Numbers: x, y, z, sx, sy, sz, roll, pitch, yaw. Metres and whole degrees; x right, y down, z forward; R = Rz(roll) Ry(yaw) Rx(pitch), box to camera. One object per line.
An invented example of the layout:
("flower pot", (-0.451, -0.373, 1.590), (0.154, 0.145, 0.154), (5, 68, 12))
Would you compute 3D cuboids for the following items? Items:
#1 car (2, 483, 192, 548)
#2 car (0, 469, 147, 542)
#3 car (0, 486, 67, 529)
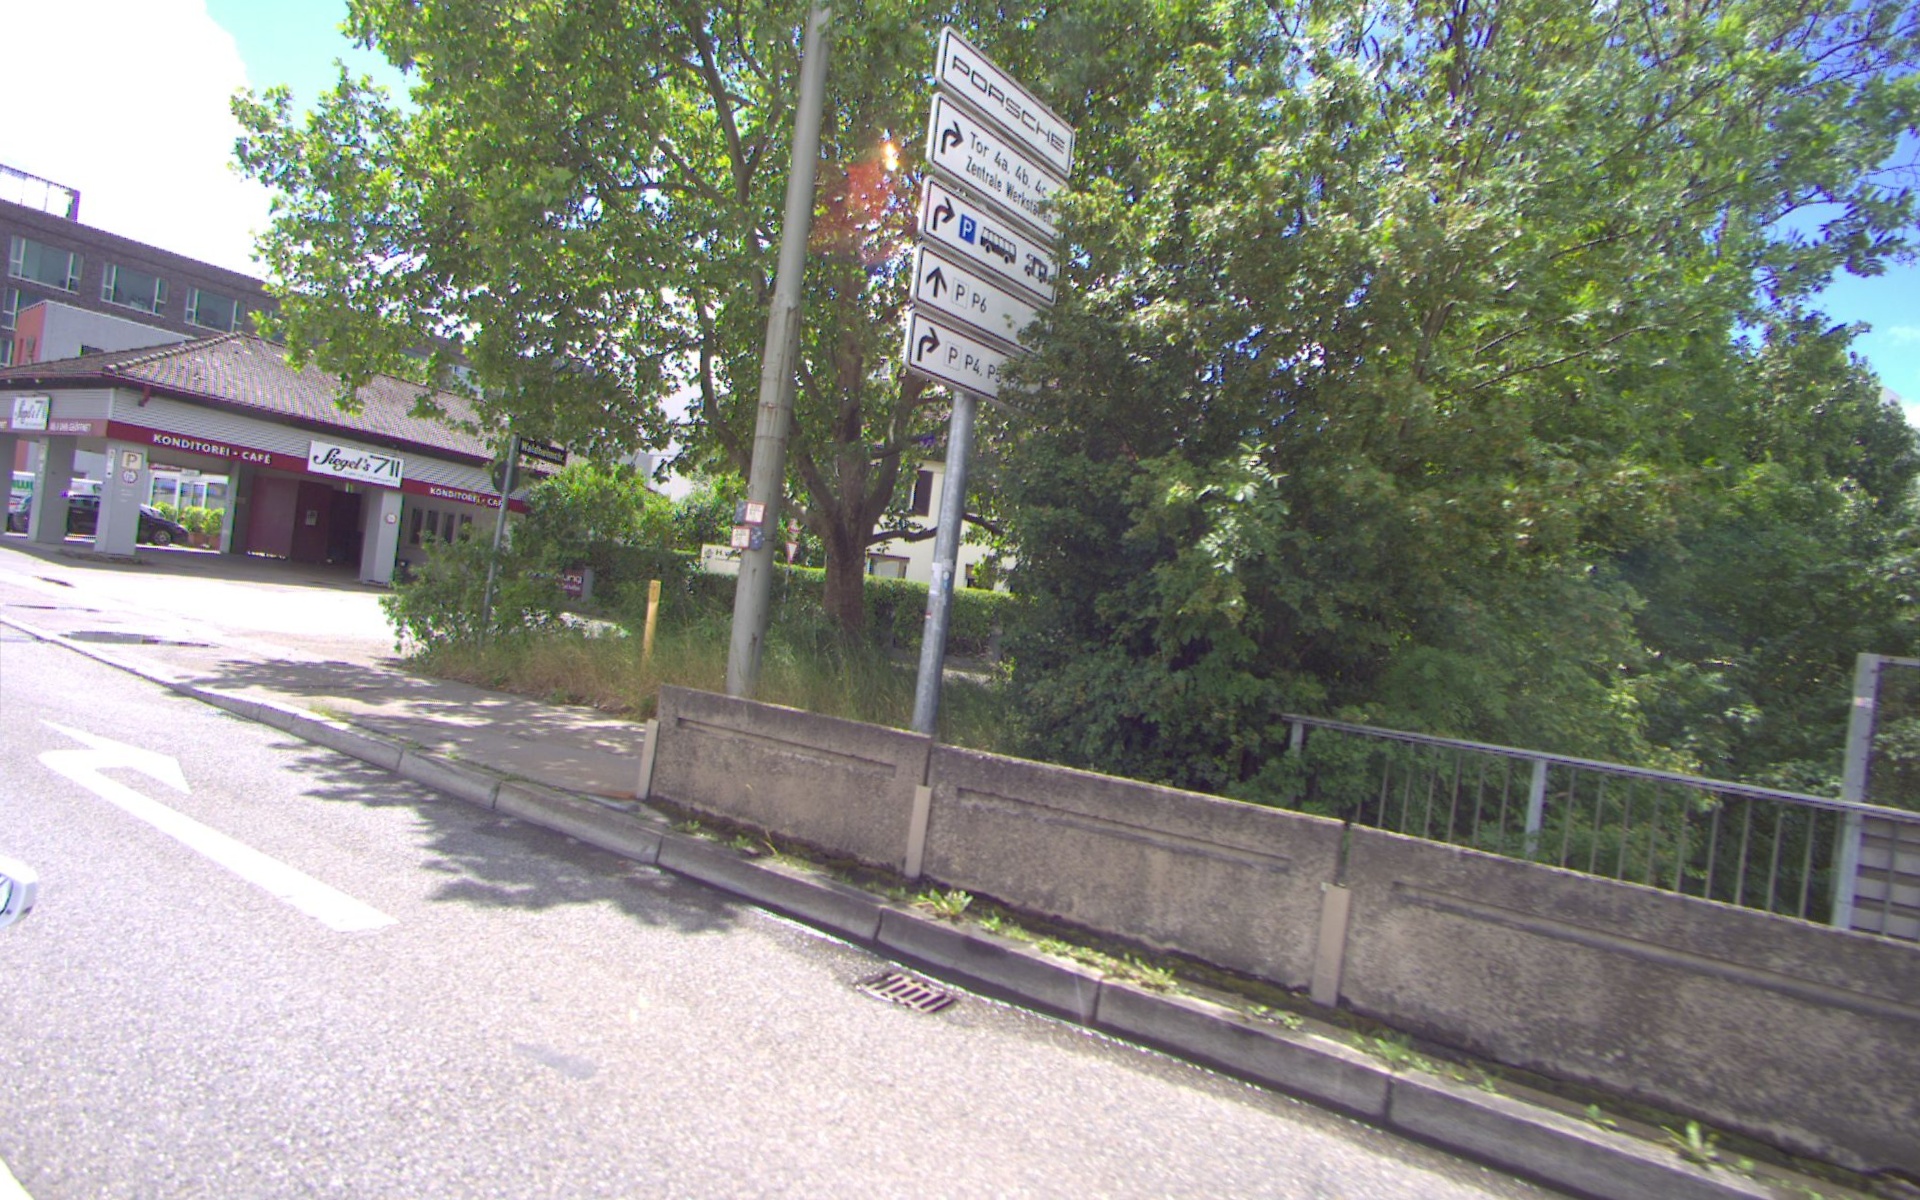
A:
("car", (-27.914, -2.701, 32.689), (1.816, 1.532, 4.302), (6, 1, 32))
("car", (-30.538, -3.197, 34.054), (1.996, 1.961, 4.232), (7, 1, 33))
("car", (-37.025, -3.652, 38.648), (1.691, 1.460, 3.758), (7, 2, 33))
